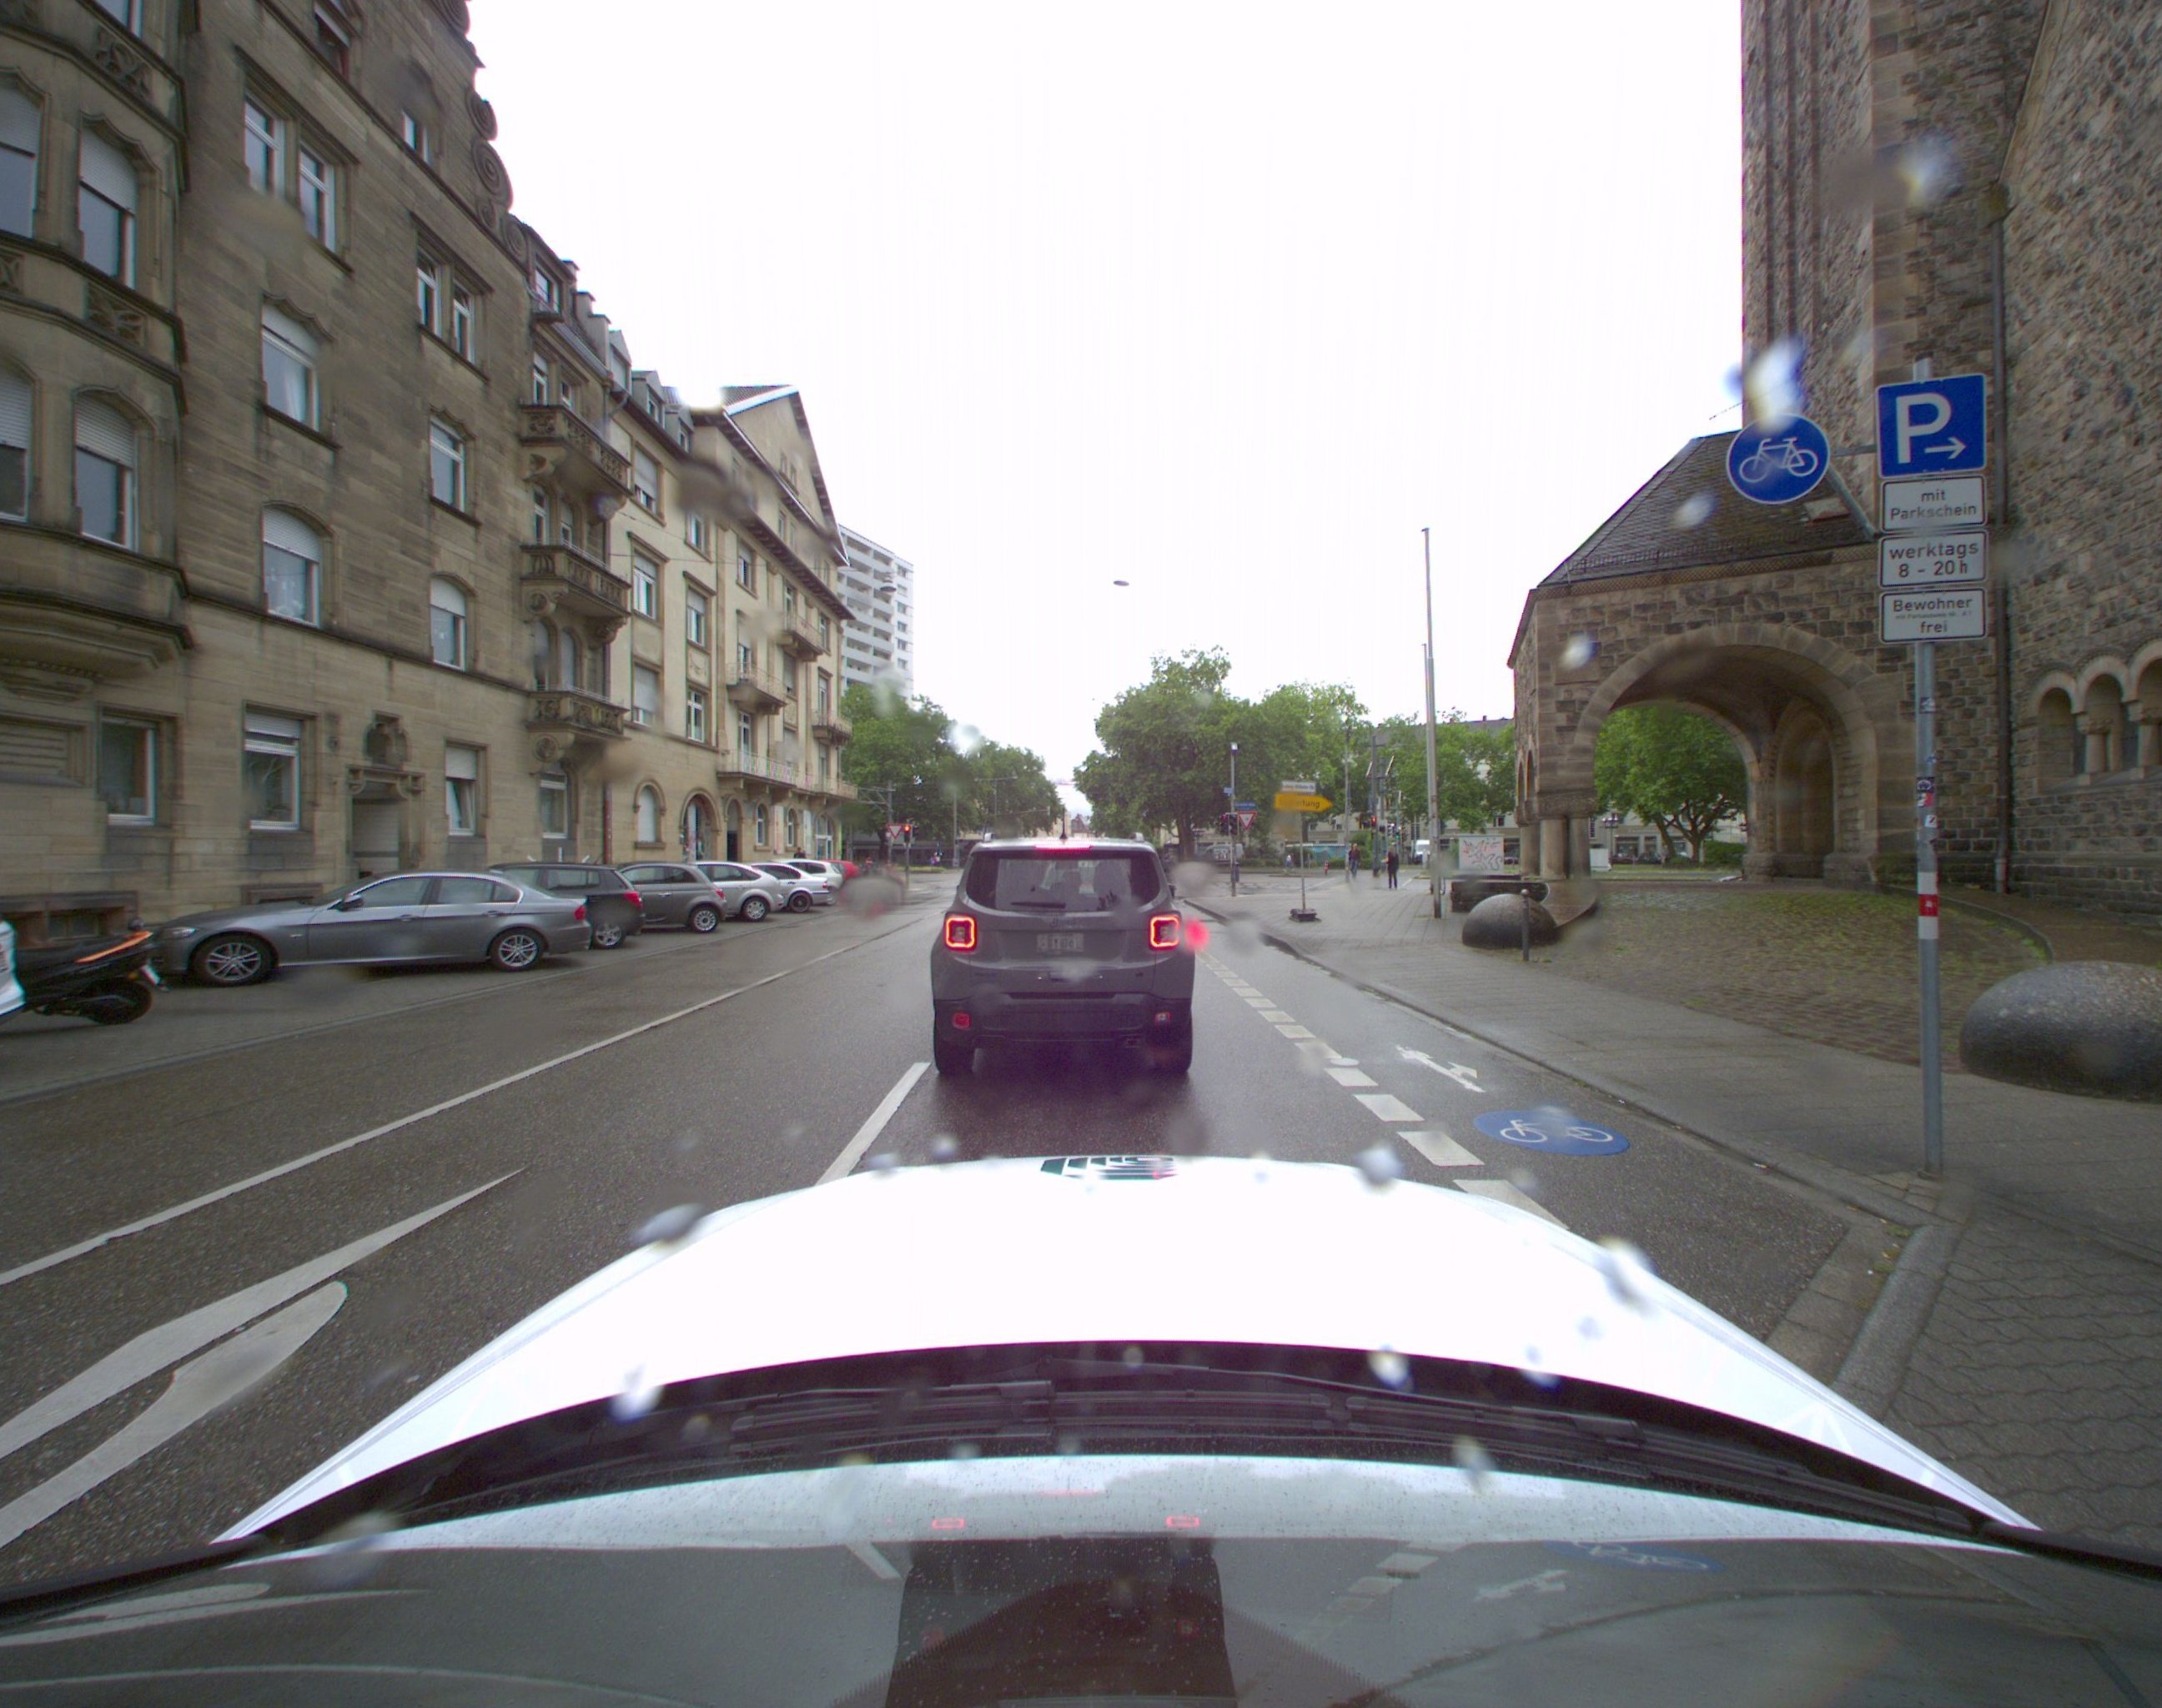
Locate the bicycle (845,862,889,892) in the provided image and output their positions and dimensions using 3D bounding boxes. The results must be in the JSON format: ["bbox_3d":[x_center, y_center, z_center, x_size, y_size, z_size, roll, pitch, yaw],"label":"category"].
[{"bbox_3d":[-9.498,1.009,36.186,1.758,1.266,0.608,-1,0,0],"label":"bicycle"}]

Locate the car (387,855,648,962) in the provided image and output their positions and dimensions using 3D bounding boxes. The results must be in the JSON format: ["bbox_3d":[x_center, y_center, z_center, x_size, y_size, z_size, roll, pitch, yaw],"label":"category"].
[{"bbox_3d":[-9.700,0.842,14.215,3.570,1.598,1.587,-1,0,-38],"label":"car"}]

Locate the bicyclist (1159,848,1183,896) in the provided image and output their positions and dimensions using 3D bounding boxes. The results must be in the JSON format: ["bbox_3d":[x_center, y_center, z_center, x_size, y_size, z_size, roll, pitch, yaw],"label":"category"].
[{"bbox_3d":[3.079,0.607,27.930,0.684,1.617,0.884,-2,0,0],"label":"bicyclist"}]

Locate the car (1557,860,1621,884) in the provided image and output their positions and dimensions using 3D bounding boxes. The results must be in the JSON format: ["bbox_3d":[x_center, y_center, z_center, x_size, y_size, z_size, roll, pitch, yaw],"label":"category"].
[{"bbox_3d":[33.407,1.197,53.672,3.404,1.552,1.603,-1,0,27],"label":"car"}]

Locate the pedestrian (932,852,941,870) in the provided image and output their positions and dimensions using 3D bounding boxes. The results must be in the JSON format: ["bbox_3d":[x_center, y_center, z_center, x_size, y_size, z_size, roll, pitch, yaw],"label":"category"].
[{"bbox_3d":[-14.695,0.735,82.949,0.686,1.826,0.623,-1,0,17],"label":"pedestrian"}]

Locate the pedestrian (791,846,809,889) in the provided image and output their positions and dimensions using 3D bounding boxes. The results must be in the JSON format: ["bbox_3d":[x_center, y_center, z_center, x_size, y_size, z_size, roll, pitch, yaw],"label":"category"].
[{"bbox_3d":[-13.284,0.615,38.481,0.565,2.013,0.655,-1,0,1],"label":"pedestrian"}]

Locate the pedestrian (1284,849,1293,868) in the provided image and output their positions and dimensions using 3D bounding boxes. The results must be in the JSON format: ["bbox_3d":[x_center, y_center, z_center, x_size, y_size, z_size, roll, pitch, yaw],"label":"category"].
[{"bbox_3d":[17.342,0.358,68.206,0.607,1.603,0.497,-1,0,26],"label":"pedestrian"}]

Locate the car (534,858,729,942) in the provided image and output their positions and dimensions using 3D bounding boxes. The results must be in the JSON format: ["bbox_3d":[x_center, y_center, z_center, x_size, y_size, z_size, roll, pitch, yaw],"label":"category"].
[{"bbox_3d":[-9.487,0.890,17.272,3.419,1.558,1.634,-1,0,-38],"label":"car"}]

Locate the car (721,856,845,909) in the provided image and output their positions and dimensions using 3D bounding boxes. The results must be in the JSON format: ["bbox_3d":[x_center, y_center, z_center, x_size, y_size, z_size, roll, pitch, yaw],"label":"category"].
[{"bbox_3d":[-9.581,0.865,26.242,3.419,1.558,1.686,-1,0,-38],"label":"car"}]

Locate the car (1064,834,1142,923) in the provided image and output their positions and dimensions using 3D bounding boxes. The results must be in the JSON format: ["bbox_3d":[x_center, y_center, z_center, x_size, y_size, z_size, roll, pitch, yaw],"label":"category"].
[{"bbox_3d":[0.547,0.564,20.635,1.764,2.013,4.001,-1,0,1],"label":"car"}]

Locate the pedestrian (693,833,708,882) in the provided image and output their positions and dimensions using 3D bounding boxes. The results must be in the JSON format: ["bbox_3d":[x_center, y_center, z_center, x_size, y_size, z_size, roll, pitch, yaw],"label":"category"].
[{"bbox_3d":[-14.345,0.125,30.679,0.365,1.823,0.347,-1,-1,-1],"label":"pedestrian"}]

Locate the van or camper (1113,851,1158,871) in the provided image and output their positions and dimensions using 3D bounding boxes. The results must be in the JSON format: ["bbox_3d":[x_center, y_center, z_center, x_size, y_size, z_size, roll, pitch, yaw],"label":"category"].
[{"bbox_3d":[8.411,1.063,125.449,6.466,2.912,2.509,-1,0,26],"label":"van or camper"}]

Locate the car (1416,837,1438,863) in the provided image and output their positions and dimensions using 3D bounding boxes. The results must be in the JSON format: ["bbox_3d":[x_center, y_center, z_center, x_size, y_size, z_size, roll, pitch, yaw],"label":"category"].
[{"bbox_3d":[35.650,-0.392,83.842,1.889,2.555,4.815,-1,0,25],"label":"car"}]

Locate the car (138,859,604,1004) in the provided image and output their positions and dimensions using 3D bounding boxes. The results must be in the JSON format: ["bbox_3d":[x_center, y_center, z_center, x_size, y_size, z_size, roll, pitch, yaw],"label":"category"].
[{"bbox_3d":[-9.378,0.882,11.251,4.573,1.545,1.668,-1,0,-42],"label":"car"}]

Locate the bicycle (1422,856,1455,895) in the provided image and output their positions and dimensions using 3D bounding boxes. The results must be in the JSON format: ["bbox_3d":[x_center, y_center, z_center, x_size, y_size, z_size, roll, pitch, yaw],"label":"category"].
[{"bbox_3d":[11.094,0.646,25.326,0.327,1.154,2.079,-1,0,7],"label":"bicycle"}]

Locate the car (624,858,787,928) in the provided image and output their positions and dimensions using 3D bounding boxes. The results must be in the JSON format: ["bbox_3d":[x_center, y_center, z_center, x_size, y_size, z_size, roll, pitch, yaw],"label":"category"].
[{"bbox_3d":[-9.325,0.906,20.307,3.419,1.558,1.686,-1,0,-38],"label":"car"}]

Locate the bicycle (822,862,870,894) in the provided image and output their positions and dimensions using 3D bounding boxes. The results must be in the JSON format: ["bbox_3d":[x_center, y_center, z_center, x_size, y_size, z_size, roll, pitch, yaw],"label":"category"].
[{"bbox_3d":[-9.528,0.979,33.047,1.758,1.266,0.522,-1,0,-1],"label":"bicycle"}]

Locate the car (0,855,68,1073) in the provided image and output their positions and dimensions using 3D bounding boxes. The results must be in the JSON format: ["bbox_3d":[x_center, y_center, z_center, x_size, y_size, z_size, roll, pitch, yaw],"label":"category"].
[{"bbox_3d":[-9.633,0.823,4.941,4.064,1.555,1.778,-1,0,-39],"label":"car"}]

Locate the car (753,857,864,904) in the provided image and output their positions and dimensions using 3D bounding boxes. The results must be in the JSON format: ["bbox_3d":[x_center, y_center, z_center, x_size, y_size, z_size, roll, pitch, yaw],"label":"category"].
[{"bbox_3d":[-9.756,0.893,29.194,3.419,1.558,1.686,-1,0,-38],"label":"car"}]

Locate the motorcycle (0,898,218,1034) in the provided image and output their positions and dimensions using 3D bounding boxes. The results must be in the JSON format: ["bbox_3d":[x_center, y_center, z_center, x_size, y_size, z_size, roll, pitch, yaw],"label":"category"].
[{"bbox_3d":[-9.381,0.996,7.475,1.880,1.162,0.627,2,-2,-36],"label":"motorcycle"}]

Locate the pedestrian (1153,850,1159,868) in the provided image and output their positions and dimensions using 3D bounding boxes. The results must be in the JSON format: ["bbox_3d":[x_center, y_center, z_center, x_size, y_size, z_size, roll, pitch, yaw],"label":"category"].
[{"bbox_3d":[8.605,0.554,93.341,0.646,2.013,0.484,-1,0,14],"label":"pedestrian"}]

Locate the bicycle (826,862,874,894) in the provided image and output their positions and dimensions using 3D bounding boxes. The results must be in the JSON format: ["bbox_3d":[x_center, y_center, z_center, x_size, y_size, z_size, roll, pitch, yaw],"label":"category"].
[{"bbox_3d":[-9.531,0.971,33.594,1.804,1.266,0.498,-1,0,-1],"label":"bicycle"}]

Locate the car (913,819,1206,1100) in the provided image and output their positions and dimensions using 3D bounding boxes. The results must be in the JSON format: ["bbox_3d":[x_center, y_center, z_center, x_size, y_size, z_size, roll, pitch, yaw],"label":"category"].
[{"bbox_3d":[-0.106,0.652,6.977,1.769,1.687,3.848,-2,0,1],"label":"car"}]

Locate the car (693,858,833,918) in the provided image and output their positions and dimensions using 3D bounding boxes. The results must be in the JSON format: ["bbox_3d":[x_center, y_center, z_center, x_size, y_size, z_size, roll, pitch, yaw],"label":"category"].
[{"bbox_3d":[-9.162,0.929,23.531,3.419,1.558,1.686,-1,0,-38],"label":"car"}]

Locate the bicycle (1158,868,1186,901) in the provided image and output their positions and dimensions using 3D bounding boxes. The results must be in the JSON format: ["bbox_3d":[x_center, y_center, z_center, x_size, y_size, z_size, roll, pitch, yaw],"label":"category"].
[{"bbox_3d":[3.092,1.011,27.904,0.689,1.021,2.658,-2,0,1],"label":"bicycle"}]

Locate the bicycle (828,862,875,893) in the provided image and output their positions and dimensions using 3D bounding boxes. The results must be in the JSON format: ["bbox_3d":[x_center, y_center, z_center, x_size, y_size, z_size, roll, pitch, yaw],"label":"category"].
[{"bbox_3d":[-9.640,0.982,34.280,1.804,1.266,0.498,-1,0,-1],"label":"bicycle"}]

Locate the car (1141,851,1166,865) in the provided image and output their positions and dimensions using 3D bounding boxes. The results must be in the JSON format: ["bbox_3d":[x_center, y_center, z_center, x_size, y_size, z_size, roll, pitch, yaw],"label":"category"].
[{"bbox_3d":[10.662,0.552,120.209,3.411,2.014,1.554,-2,-1,15],"label":"car"}]

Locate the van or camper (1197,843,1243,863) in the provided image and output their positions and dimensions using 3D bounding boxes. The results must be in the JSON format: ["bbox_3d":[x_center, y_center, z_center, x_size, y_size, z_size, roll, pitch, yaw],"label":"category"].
[{"bbox_3d":[16.225,-0.124,95.299,5.234,2.315,2.093,0,0,5],"label":"van or camper"}]

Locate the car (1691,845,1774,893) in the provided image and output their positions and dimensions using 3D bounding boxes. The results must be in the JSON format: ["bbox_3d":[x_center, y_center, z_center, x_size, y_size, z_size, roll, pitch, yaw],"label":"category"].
[{"bbox_3d":[21.510,0.474,27.001,1.389,1.479,3.239,-1,0,25],"label":"car"}]

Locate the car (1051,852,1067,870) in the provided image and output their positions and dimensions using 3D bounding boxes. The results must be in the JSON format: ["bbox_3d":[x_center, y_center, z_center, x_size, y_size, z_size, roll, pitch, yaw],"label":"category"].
[{"bbox_3d":[-2.330,0.725,85.914,1.717,1.739,3.726,-1,0,-2],"label":"car"}]

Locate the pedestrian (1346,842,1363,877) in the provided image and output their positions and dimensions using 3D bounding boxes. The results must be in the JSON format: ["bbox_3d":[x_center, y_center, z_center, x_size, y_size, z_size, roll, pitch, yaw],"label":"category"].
[{"bbox_3d":[14.131,0.281,42.089,0.780,1.759,0.949,-1,0,16],"label":"pedestrian"}]

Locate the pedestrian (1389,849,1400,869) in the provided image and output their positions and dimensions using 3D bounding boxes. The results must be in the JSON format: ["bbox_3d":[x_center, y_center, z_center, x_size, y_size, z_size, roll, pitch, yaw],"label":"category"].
[{"bbox_3d":[25.365,0.415,65.876,0.667,1.554,0.766,-1,-2,29],"label":"pedestrian"}]

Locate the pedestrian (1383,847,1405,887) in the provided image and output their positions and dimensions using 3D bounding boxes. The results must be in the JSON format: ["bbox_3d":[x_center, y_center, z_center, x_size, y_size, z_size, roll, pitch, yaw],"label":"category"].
[{"bbox_3d":[13.255,0.535,34.487,0.777,1.645,0.657,-1,0,13],"label":"pedestrian"}]
